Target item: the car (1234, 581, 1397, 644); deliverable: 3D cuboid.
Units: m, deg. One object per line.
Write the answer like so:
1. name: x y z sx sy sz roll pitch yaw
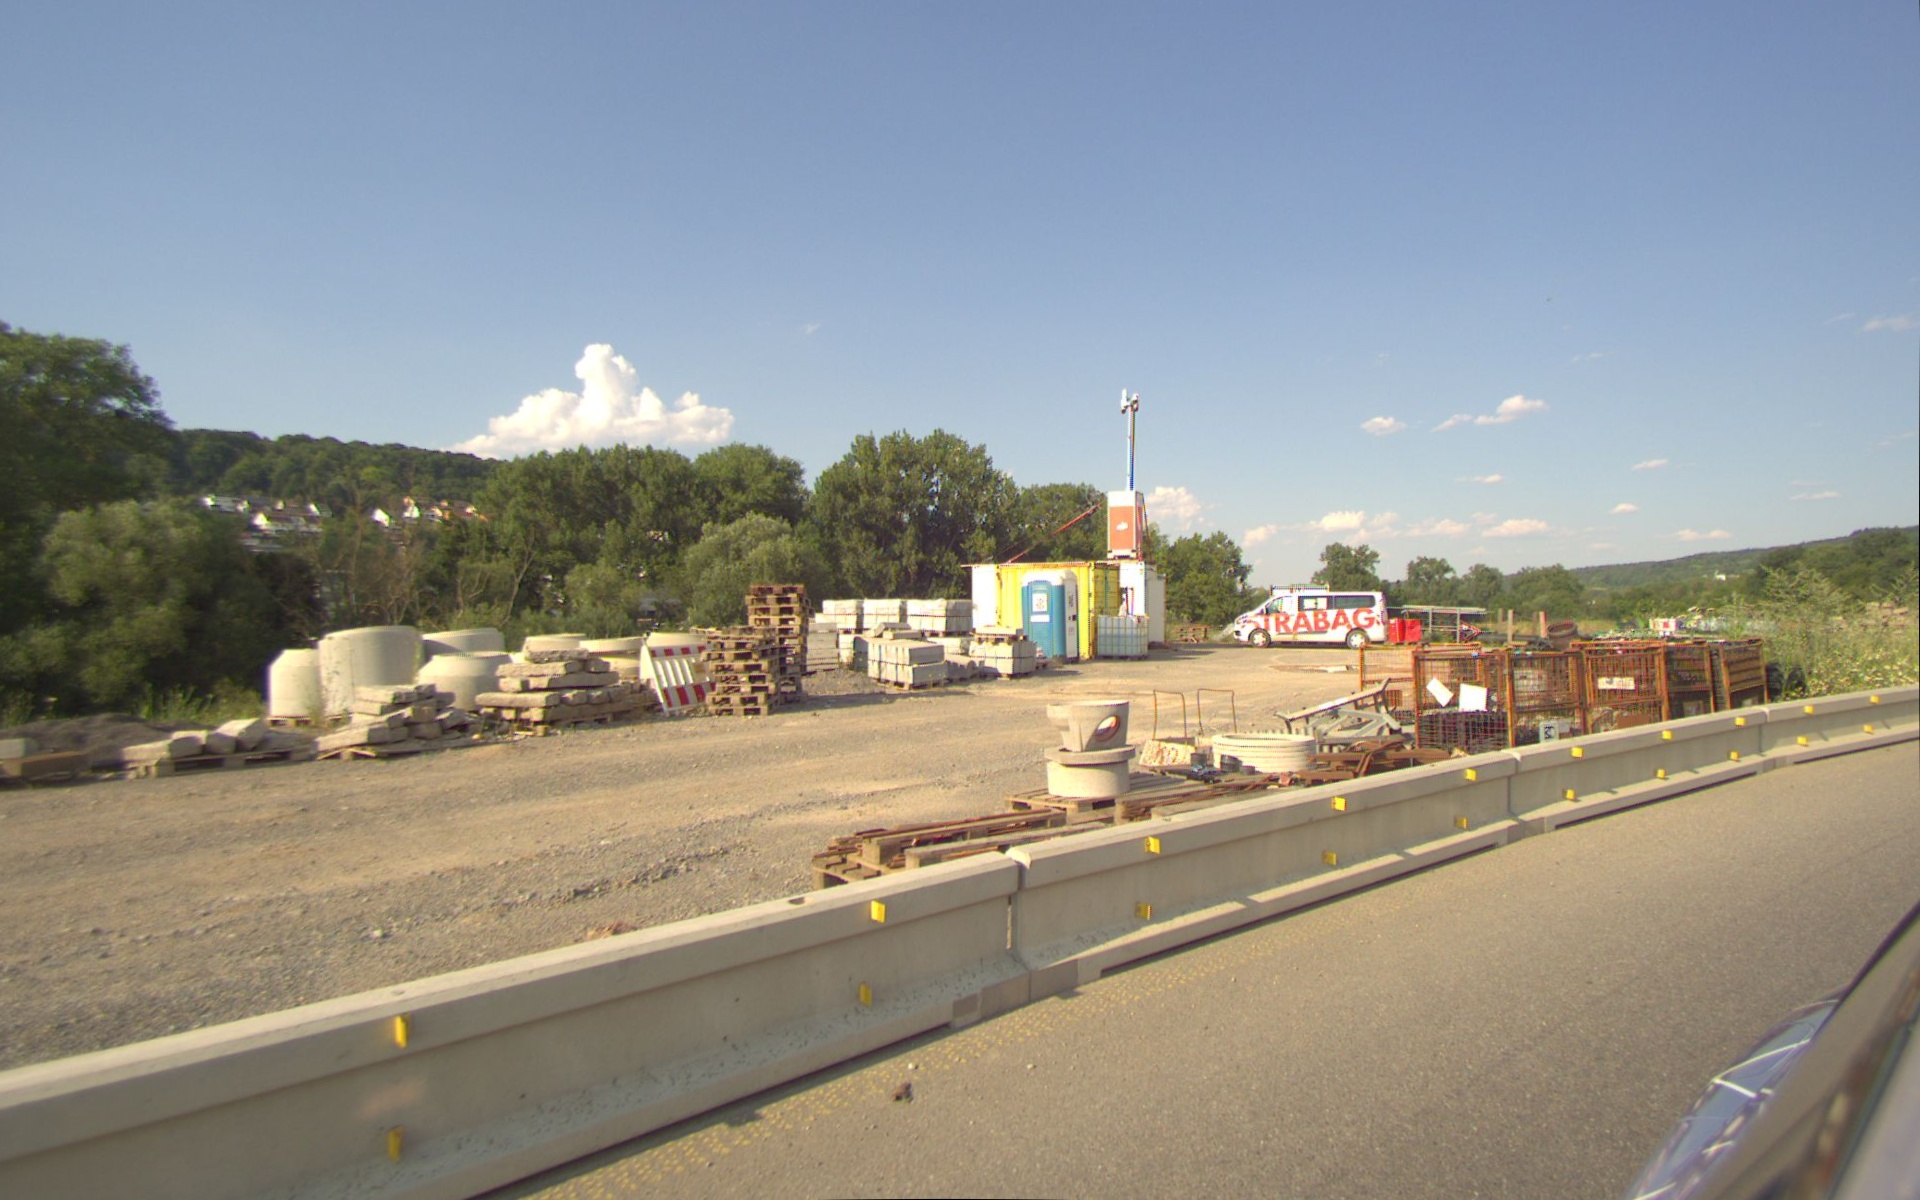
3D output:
1. car: 12.603 0.456 35.981 5.258 2.105 2.468 -1 0 23
